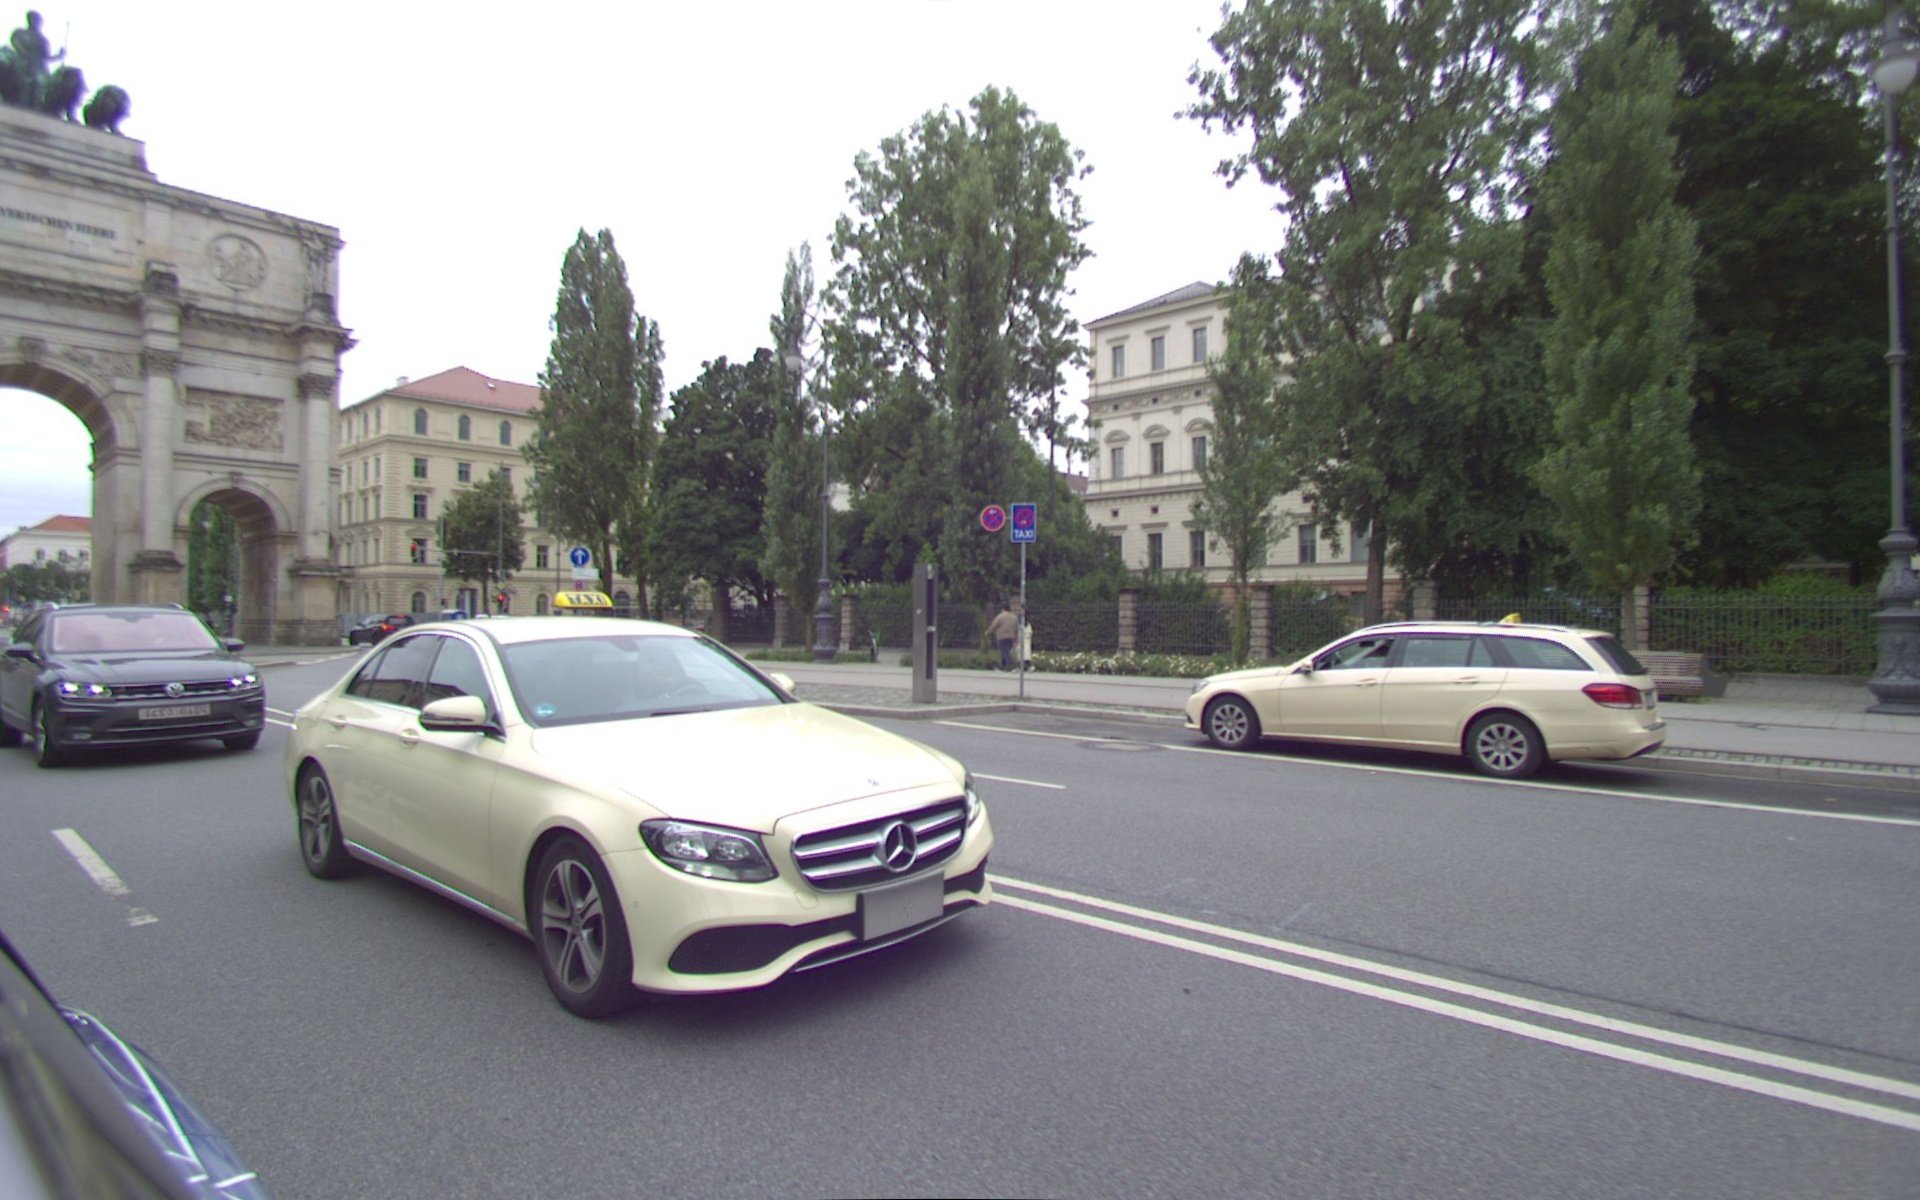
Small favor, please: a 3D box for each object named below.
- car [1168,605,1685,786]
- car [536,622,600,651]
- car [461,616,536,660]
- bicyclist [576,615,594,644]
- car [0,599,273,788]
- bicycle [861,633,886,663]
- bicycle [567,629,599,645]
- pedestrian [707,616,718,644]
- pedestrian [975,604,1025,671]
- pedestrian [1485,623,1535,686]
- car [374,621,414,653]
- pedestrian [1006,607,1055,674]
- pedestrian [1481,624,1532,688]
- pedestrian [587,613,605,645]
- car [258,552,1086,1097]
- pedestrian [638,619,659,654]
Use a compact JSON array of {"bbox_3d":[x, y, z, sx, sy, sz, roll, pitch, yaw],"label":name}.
[{"bbox_3d":[4.893,0.871,11.138,4.858,1.571,1.798,0,-3,43],"label":"car"},{"bbox_3d":[-28.953,2.659,74.855,2.000,2.029,3.944,-1,-1,42],"label":"car"},{"bbox_3d":[-20.959,1.695,46.215,1.973,1.869,5.002,2,-1,-11],"label":"car"},{"bbox_3d":[-23.195,1.819,62.566,0.848,1.722,0.643,0,-1,0],"label":"bicyclist"},{"bbox_3d":[-9.383,0.842,11.238,4.411,1.636,1.927,0,1,43],"label":"car"},{"bbox_3d":[-3.205,1.755,37.501,0.628,1.072,1.736,0,-1,5],"label":"bicycle"},{"bbox_3d":[-23.268,2.297,62.541,1.737,0.981,0.644,0,-1,0],"label":"bicycle"},{"bbox_3d":[-18.529,2.232,75.689,0.592,2.029,0.528,-1,-1,32],"label":"pedestrian"},{"bbox_3d":[1.025,0.952,26.080,0.834,1.691,0.967,1,-2,-44],"label":"pedestrian"},{"bbox_3d":[12.044,1.184,22.190,0.833,1.347,0.574,0,-1,16],"label":"pedestrian"},{"bbox_3d":[-30.858,1.976,55.123,1.756,1.684,4.012,1,-1,-31],"label":"car"},{"bbox_3d":[1.836,1.043,26.442,0.834,1.691,0.967,1,-2,-44],"label":"pedestrian"},{"bbox_3d":[11.665,1.185,21.603,0.833,1.347,0.574,0,-1,17],"label":"pedestrian"},{"bbox_3d":[-22.798,1.820,63.369,0.747,2.029,0.793,0,-1,8],"label":"pedestrian"},{"bbox_3d":[-1.835,0.640,5.223,4.688,1.587,1.894,0,1,42],"label":"car"},{"bbox_3d":[-16.164,1.891,52.493,0.744,1.799,0.914,0,-1,3],"label":"pedestrian"}]
